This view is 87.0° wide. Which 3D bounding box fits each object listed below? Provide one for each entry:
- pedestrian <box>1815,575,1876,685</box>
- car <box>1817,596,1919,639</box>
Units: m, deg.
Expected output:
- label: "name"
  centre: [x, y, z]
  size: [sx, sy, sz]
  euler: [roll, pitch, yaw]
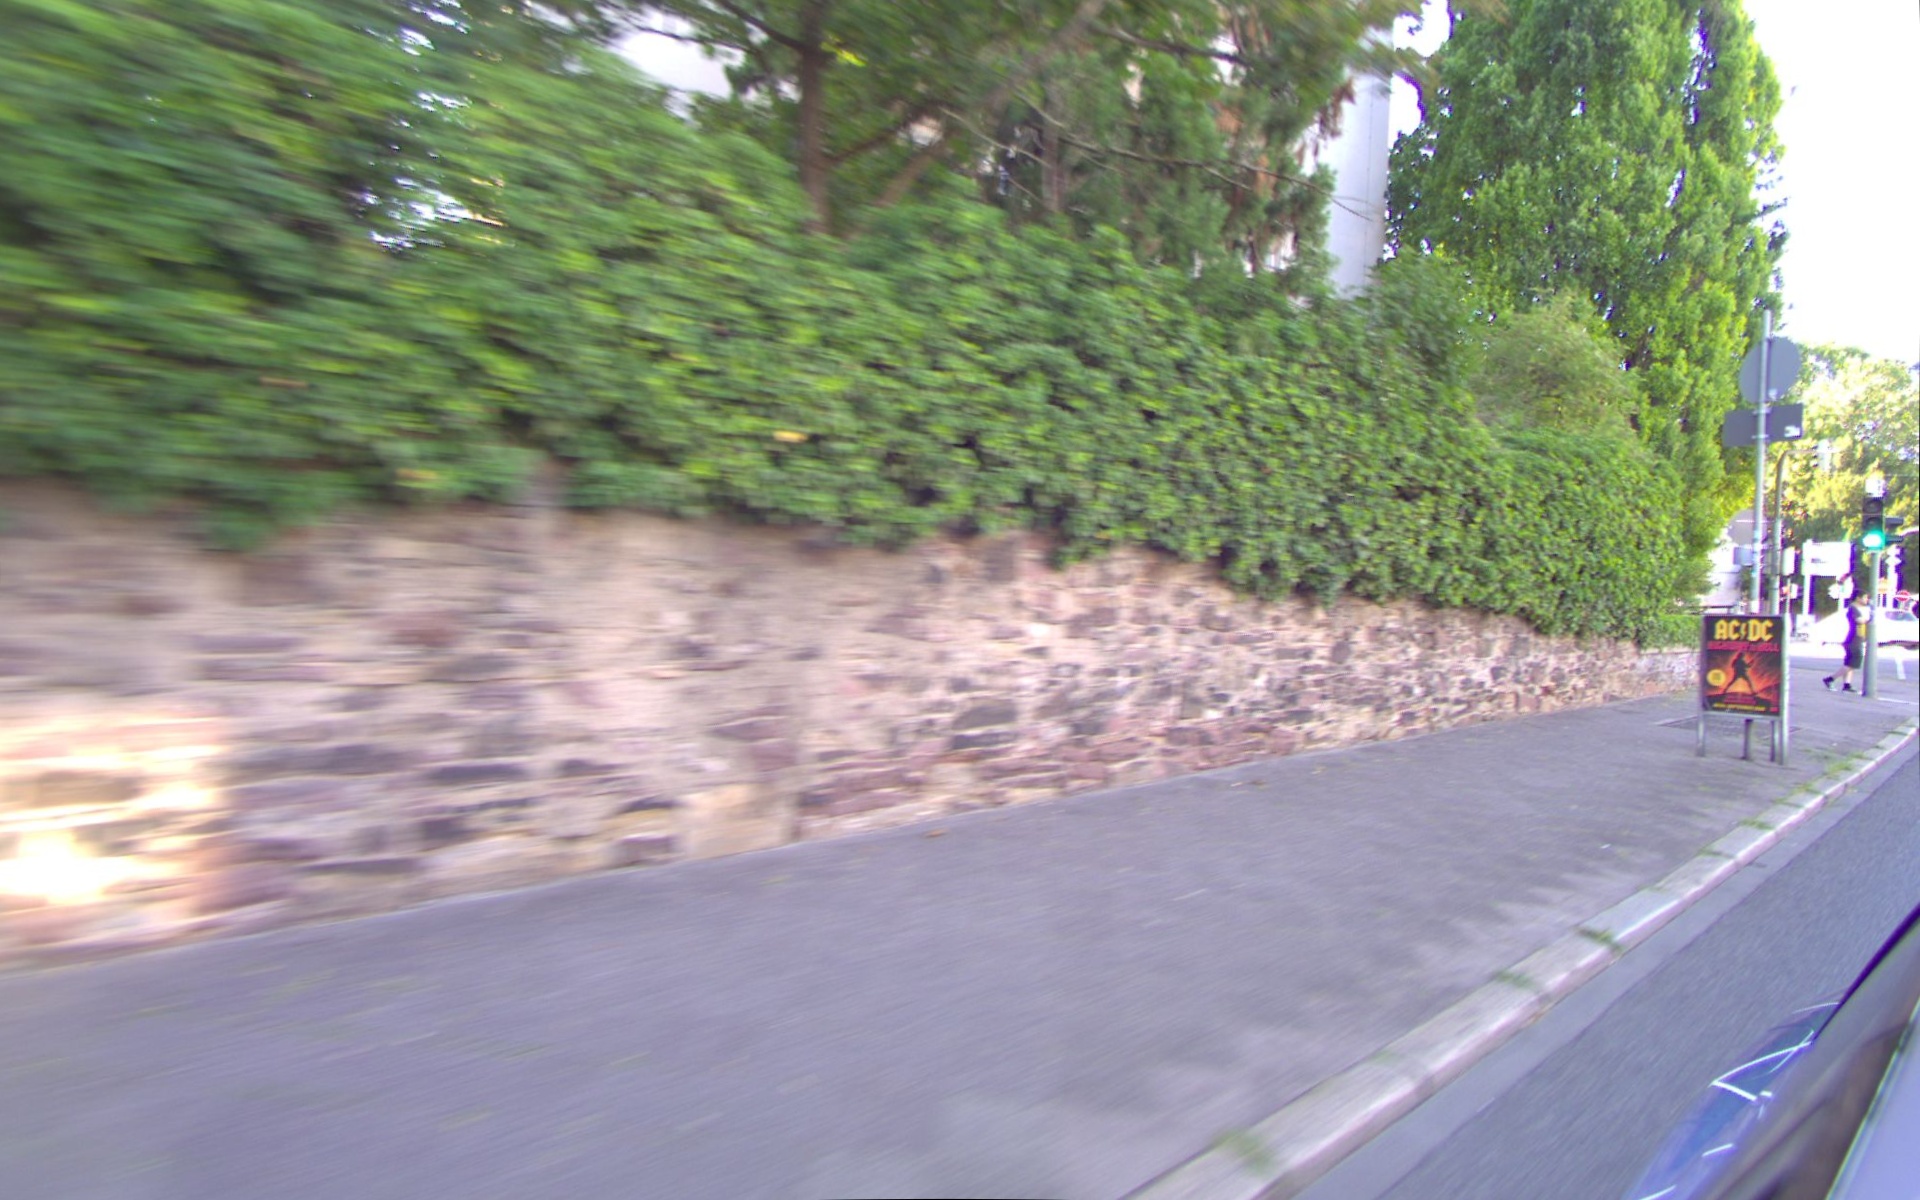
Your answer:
- label: "pedestrian"
  centre: [14.257, 0.473, 16.296]
  size: [0.601, 1.714, 0.603]
  euler: [2, 1, -41]
- label: "car"
  centre: [35.549, 0.662, 39.168]
  size: [1.752, 1.562, 3.989]
  euler: [1, 0, 9]
